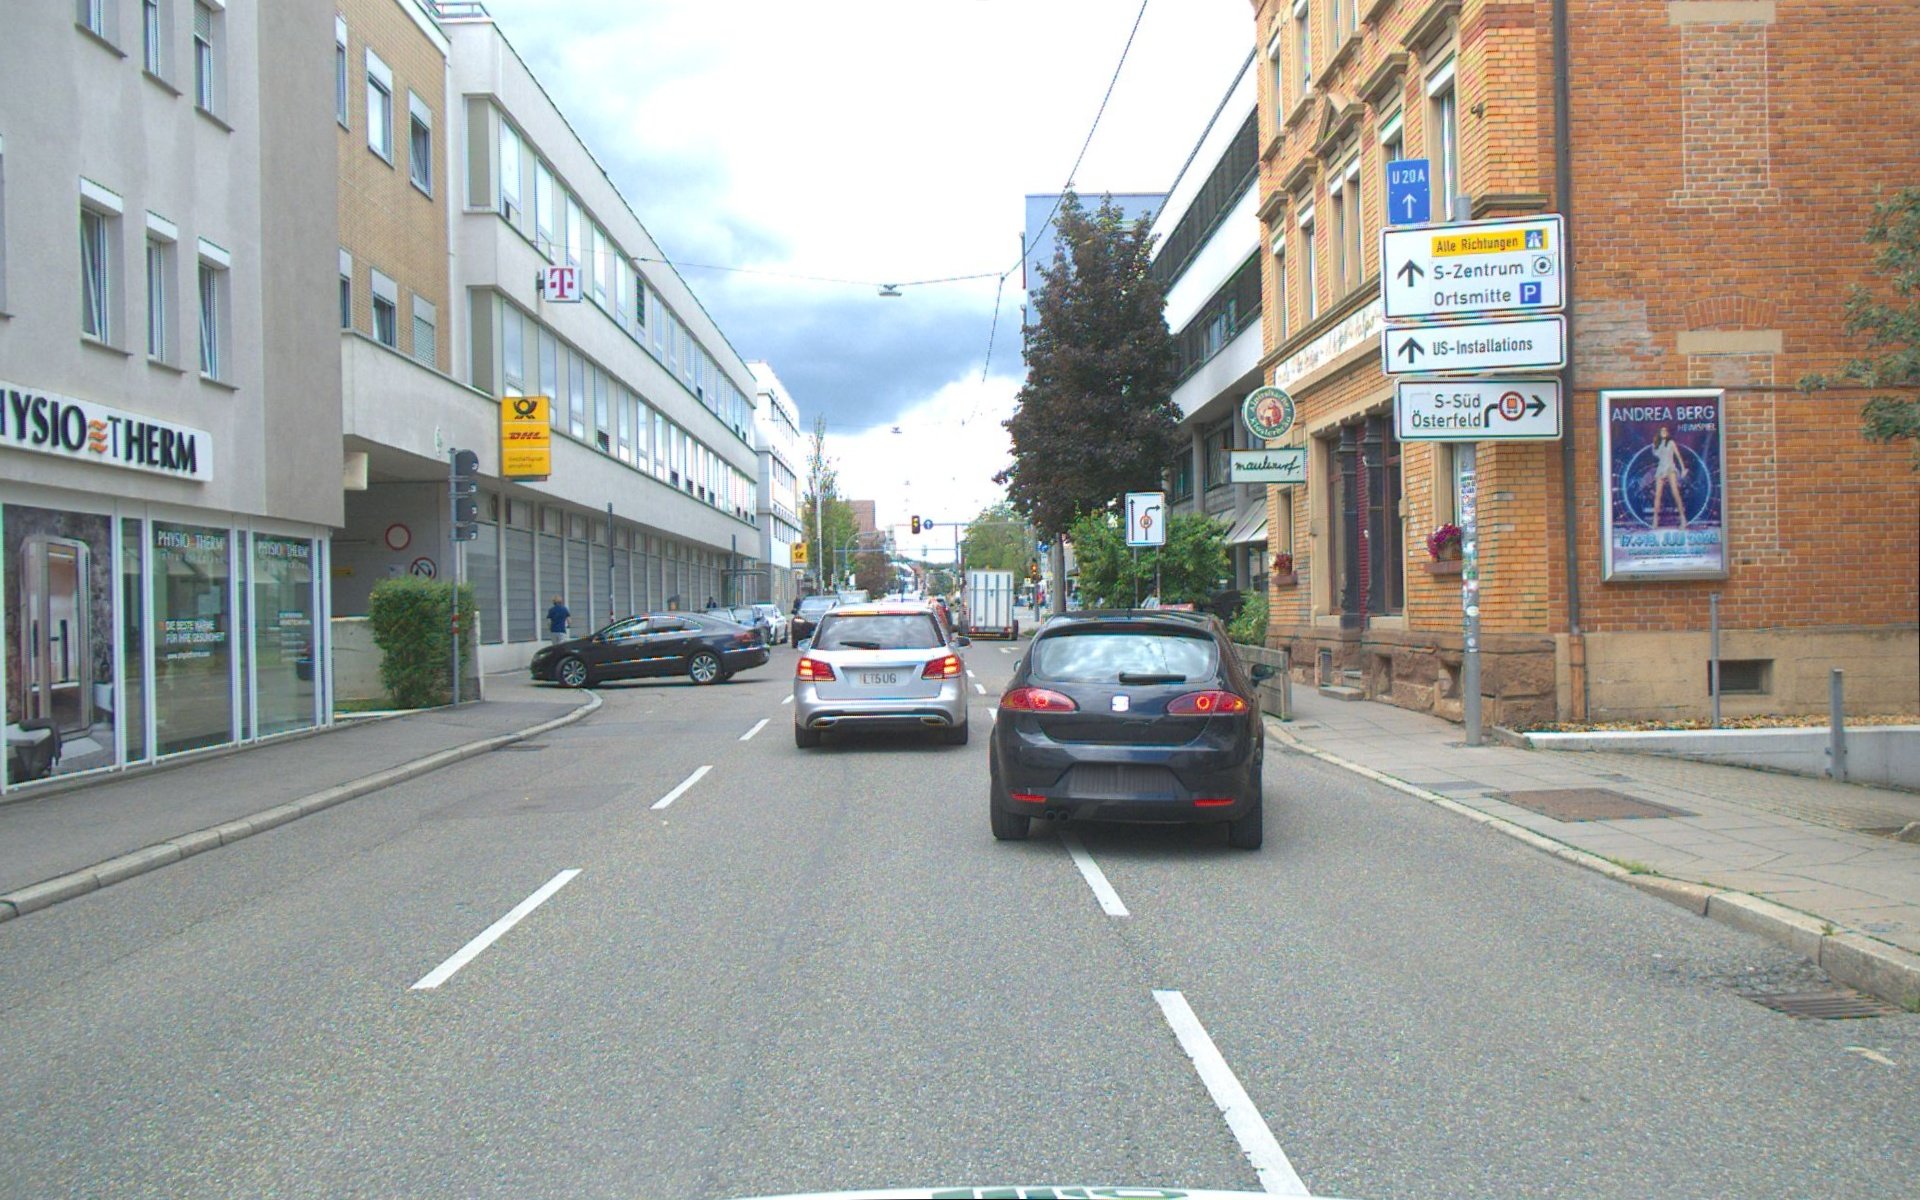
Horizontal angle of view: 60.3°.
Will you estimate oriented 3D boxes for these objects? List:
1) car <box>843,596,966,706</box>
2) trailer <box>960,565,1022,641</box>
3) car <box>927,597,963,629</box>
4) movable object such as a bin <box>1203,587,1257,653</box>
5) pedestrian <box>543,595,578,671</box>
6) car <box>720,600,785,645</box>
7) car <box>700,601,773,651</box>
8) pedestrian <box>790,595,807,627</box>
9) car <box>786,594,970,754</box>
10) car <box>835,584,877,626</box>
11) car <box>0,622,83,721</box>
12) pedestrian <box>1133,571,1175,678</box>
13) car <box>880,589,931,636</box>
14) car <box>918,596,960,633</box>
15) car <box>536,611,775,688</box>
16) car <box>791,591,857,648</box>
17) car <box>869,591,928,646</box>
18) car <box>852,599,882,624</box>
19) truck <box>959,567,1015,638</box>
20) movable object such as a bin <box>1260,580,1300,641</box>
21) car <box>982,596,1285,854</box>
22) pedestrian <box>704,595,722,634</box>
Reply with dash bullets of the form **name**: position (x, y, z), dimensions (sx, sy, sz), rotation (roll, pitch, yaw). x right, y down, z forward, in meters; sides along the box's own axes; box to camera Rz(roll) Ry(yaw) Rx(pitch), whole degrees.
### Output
- **car**: position (-0.874, 0.743, 26.150), dimensions (1.767, 1.580, 3.736), rotation (-1, 0, -2)
- **trailer**: position (1.102, 0.101, 61.194), dimensions (1.953, 2.653, 5.347), rotation (-1, 0, -2)
- **car**: position (-0.809, 0.643, 85.901), dimensions (1.767, 1.629, 3.736), rotation (0, 0, -2)
- **movable object such as a bin**: position (6.407, 0.460, 39.316), dimensions (0.924, 1.496, 1.444), rotation (-3, 0, -4)
- **pedestrian**: position (-9.639, 0.782, 39.930), dimensions (0.630, 1.800, 0.809), rotation (-1, 0, -3)
- **car**: position (-7.586, 0.805, 60.732), dimensions (1.953, 1.543, 4.173), rotation (-1, 0, -2)
- **car**: position (-7.375, 0.829, 55.021), dimensions (1.953, 1.543, 4.173), rotation (-1, 0, -2)
- **pedestrian**: position (-9.592, 0.663, 98.372), dimensions (0.899, 1.901, 0.783), rotation (-1, 0, -2)
- **car**: position (-0.857, 0.720, 18.015), dimensions (1.767, 1.519, 3.736), rotation (-1, 0, -2)
- **car**: position (-5.423, 0.267, 86.530), dimensions (1.953, 2.049, 4.900), rotation (-2, 0, -2)
- **car**: position (-15.456, 1.094, 25.688), dimensions (1.718, 1.482, 3.690), rotation (0, 0, -1)
- **pedestrian**: position (3.780, 0.466, 32.243), dimensions (0.679, 2.049, 0.676), rotation (-1, 0, -3)
- **car**: position (-1.959, 0.423, 59.584), dimensions (1.767, 1.629, 3.736), rotation (0, 0, -2)
- **car**: position (-0.952, 0.619, 73.267), dimensions (1.767, 1.629, 3.736), rotation (0, 0, -2)
- **car**: position (-5.975, 0.971, 32.727), dimensions (4.305, 1.389, 1.787), rotation (-1, 0, 5)
- **car**: position (-4.591, 0.622, 56.433), dimensions (1.953, 1.769, 4.552), rotation (-2, 0, -2)
- **car**: position (-1.914, 0.555, 51.758), dimensions (1.767, 1.629, 3.736), rotation (0, 0, -2)
- **car**: position (-5.741, 0.686, 102.685), dimensions (1.733, 1.438, 4.173), rotation (-2, 0, -2)
- **truck**: position (1.018, 0.086, 63.956), dimensions (1.953, 2.653, 3.259), rotation (-1, 0, -2)
- **movable object such as a bin**: position (8.420, 0.274, 43.509), dimensions (0.804, 1.530, 0.732), rotation (-4, -1, 0)
- **car**: position (1.289, 0.725, 11.479), dimensions (1.728, 1.458, 3.831), rotation (-1, 0, 9)
- **pedestrian**: position (-10.681, 0.620, 71.430), dimensions (0.642, 1.651, 0.681), rotation (-1, 0, 0)
